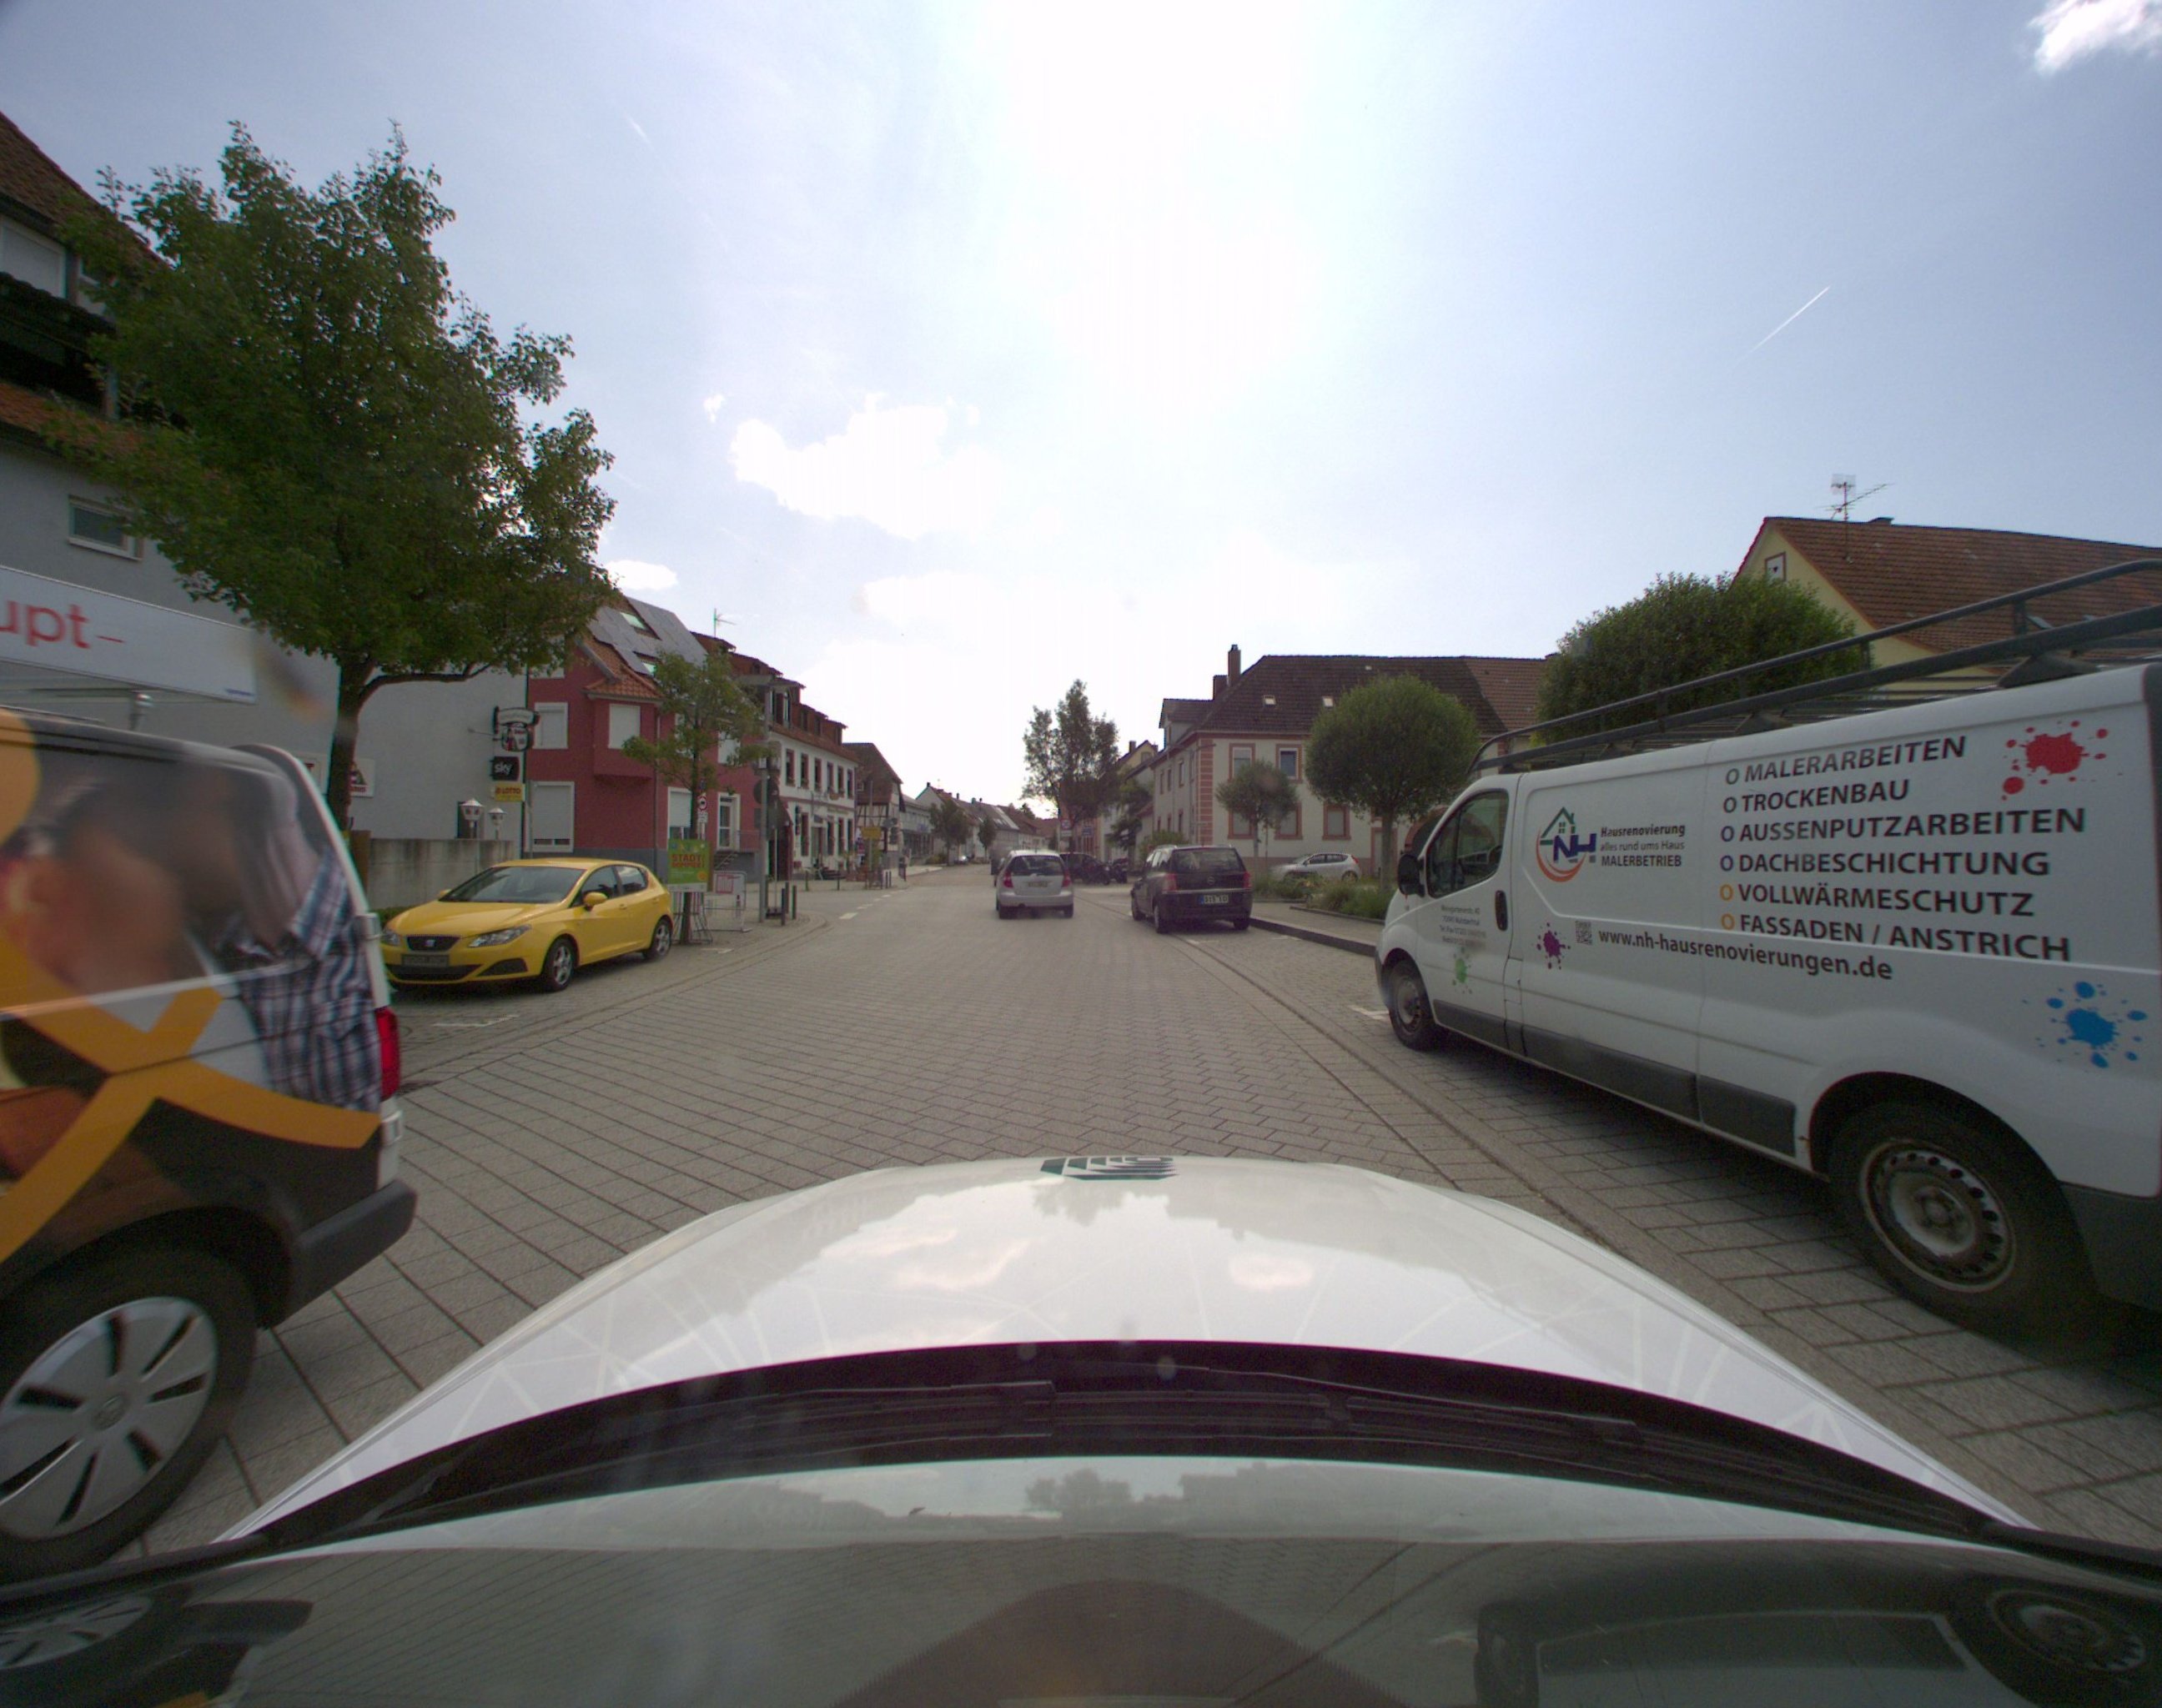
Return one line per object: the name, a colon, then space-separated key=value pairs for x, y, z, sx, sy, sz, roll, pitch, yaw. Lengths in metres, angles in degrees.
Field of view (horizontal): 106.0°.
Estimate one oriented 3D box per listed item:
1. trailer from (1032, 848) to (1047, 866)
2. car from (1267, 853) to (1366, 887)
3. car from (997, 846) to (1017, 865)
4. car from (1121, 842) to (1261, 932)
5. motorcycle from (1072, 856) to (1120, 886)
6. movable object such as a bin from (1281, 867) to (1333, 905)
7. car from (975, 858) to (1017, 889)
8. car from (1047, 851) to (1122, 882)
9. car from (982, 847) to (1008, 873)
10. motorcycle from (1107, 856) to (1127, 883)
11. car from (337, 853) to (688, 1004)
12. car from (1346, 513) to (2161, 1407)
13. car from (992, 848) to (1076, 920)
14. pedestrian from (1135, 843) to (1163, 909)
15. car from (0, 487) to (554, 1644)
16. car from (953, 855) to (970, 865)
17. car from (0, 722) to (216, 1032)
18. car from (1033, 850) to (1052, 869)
trailer: x=-5.433 y=0.420 z=106.744 sx=1.842 sy=2.354 sz=3.582 roll=0 pitch=0 yaw=-6
car: x=10.607 y=0.700 z=36.892 sx=3.980 sy=1.473 sz=1.825 roll=0 pitch=0 yaw=0
car: x=-9.025 y=0.222 z=99.962 sx=2.230 sy=2.222 sz=3.996 roll=-1 pitch=-1 yaw=-2
car: x=2.037 y=0.578 z=16.407 sx=1.767 sy=1.564 sz=4.408 roll=0 pitch=0 yaw=-7
motorcycle: x=0.717 y=0.808 z=38.993 sx=2.197 sy=1.395 sz=0.878 roll=0 pitch=0 yaw=38
movable object such as a bin: x=5.589 y=0.779 z=20.190 sx=0.734 sy=0.866 sz=1.432 roll=1 pitch=-1 yaw=-8
car: x=-4.116 y=0.913 z=39.680 sx=1.942 sy=1.407 sz=3.992 roll=0 pitch=0 yaw=-6
car: x=0.180 y=0.661 z=44.796 sx=3.847 sy=1.577 sz=1.845 roll=-2 pitch=0 yaw=-9
car: x=-6.660 y=0.497 z=63.467 sx=1.765 sy=1.888 sz=4.440 roll=3 pitch=-1 yaw=-4
motorcycle: x=1.825 y=0.782 z=41.241 sx=0.955 sy=1.298 sz=2.227 roll=-2 pitch=0 yaw=3
car: x=-6.558 y=0.728 z=10.018 sx=1.664 sy=1.474 sz=3.959 roll=0 pitch=0 yaw=-3
car: x=3.411 y=0.243 z=4.346 sx=1.939 sy=2.177 sz=5.093 roll=-2 pitch=0 yaw=-5
car: x=-1.274 y=0.675 z=20.457 sx=1.768 sy=1.594 sz=3.988 roll=-1 pitch=0 yaw=-8
pedestrian: x=1.701 y=0.538 z=20.499 sx=0.637 sy=1.629 sz=0.620 roll=0 pitch=0 yaw=-3
car: x=-3.001 y=0.399 z=0.589 sx=1.881 sy=2.186 sz=5.031 roll=0 pitch=0 yaw=1
car: x=-17.322 y=0.848 z=118.274 sx=1.798 sy=1.460 sz=4.157 roll=1 pitch=0 yaw=0
car: x=-5.861 y=0.103 z=2.366 sx=1.810 sy=1.423 sz=4.537 roll=0 pitch=0 yaw=0
car: x=-4.340 y=0.608 z=92.058 sx=1.889 sy=1.982 sz=4.922 roll=-2 pitch=0 yaw=-5
